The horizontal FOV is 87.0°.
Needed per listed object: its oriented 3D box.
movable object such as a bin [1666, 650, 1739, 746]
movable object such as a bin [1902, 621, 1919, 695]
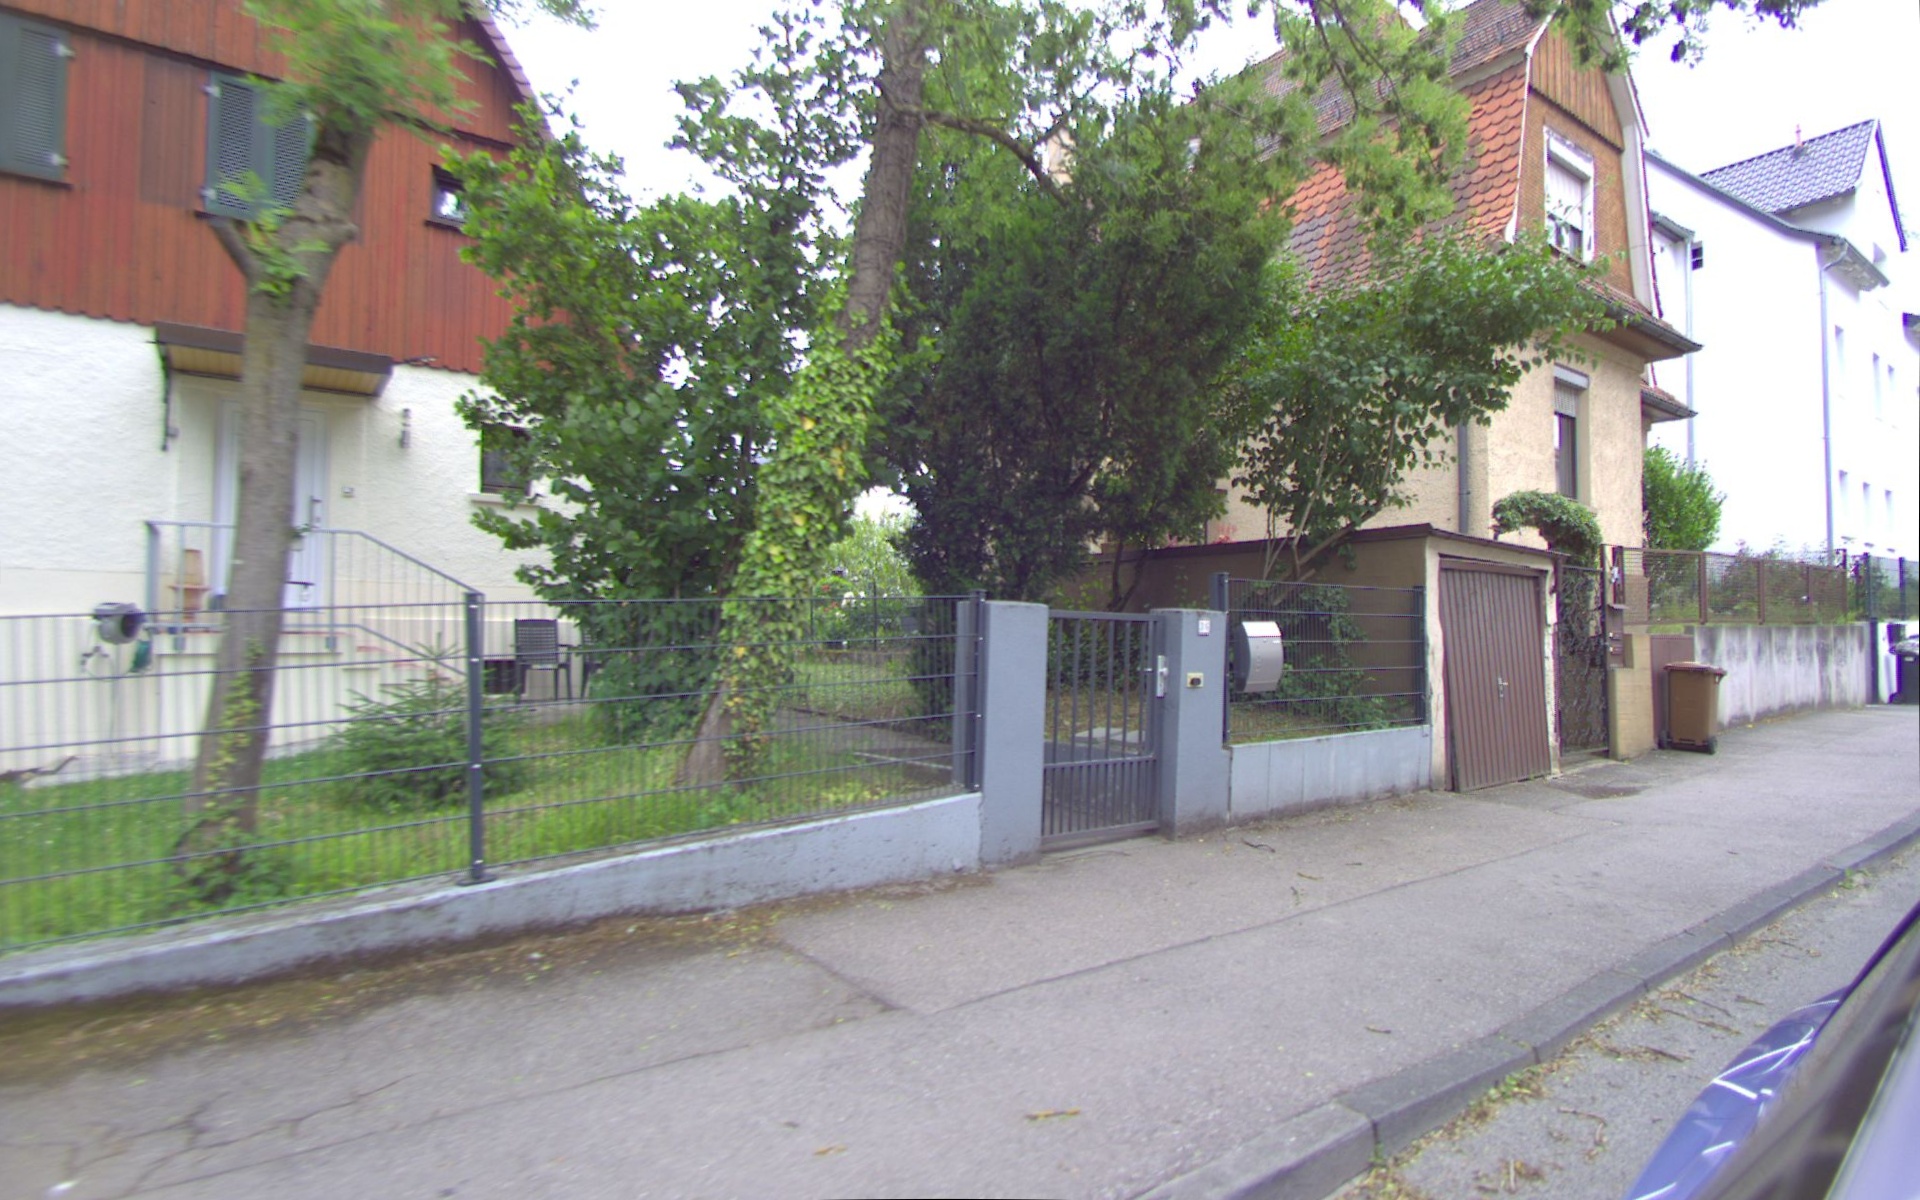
[{"bbox_3d":[7.886,1.026,10.747,0.555,0.935,0.462,0,1,-37],"label":"movable object such as a bin"},{"bbox_3d":[16.062,0.963,16.769,0.623,1.193,0.529,0,1,-37],"label":"movable object such as a bin"}]
